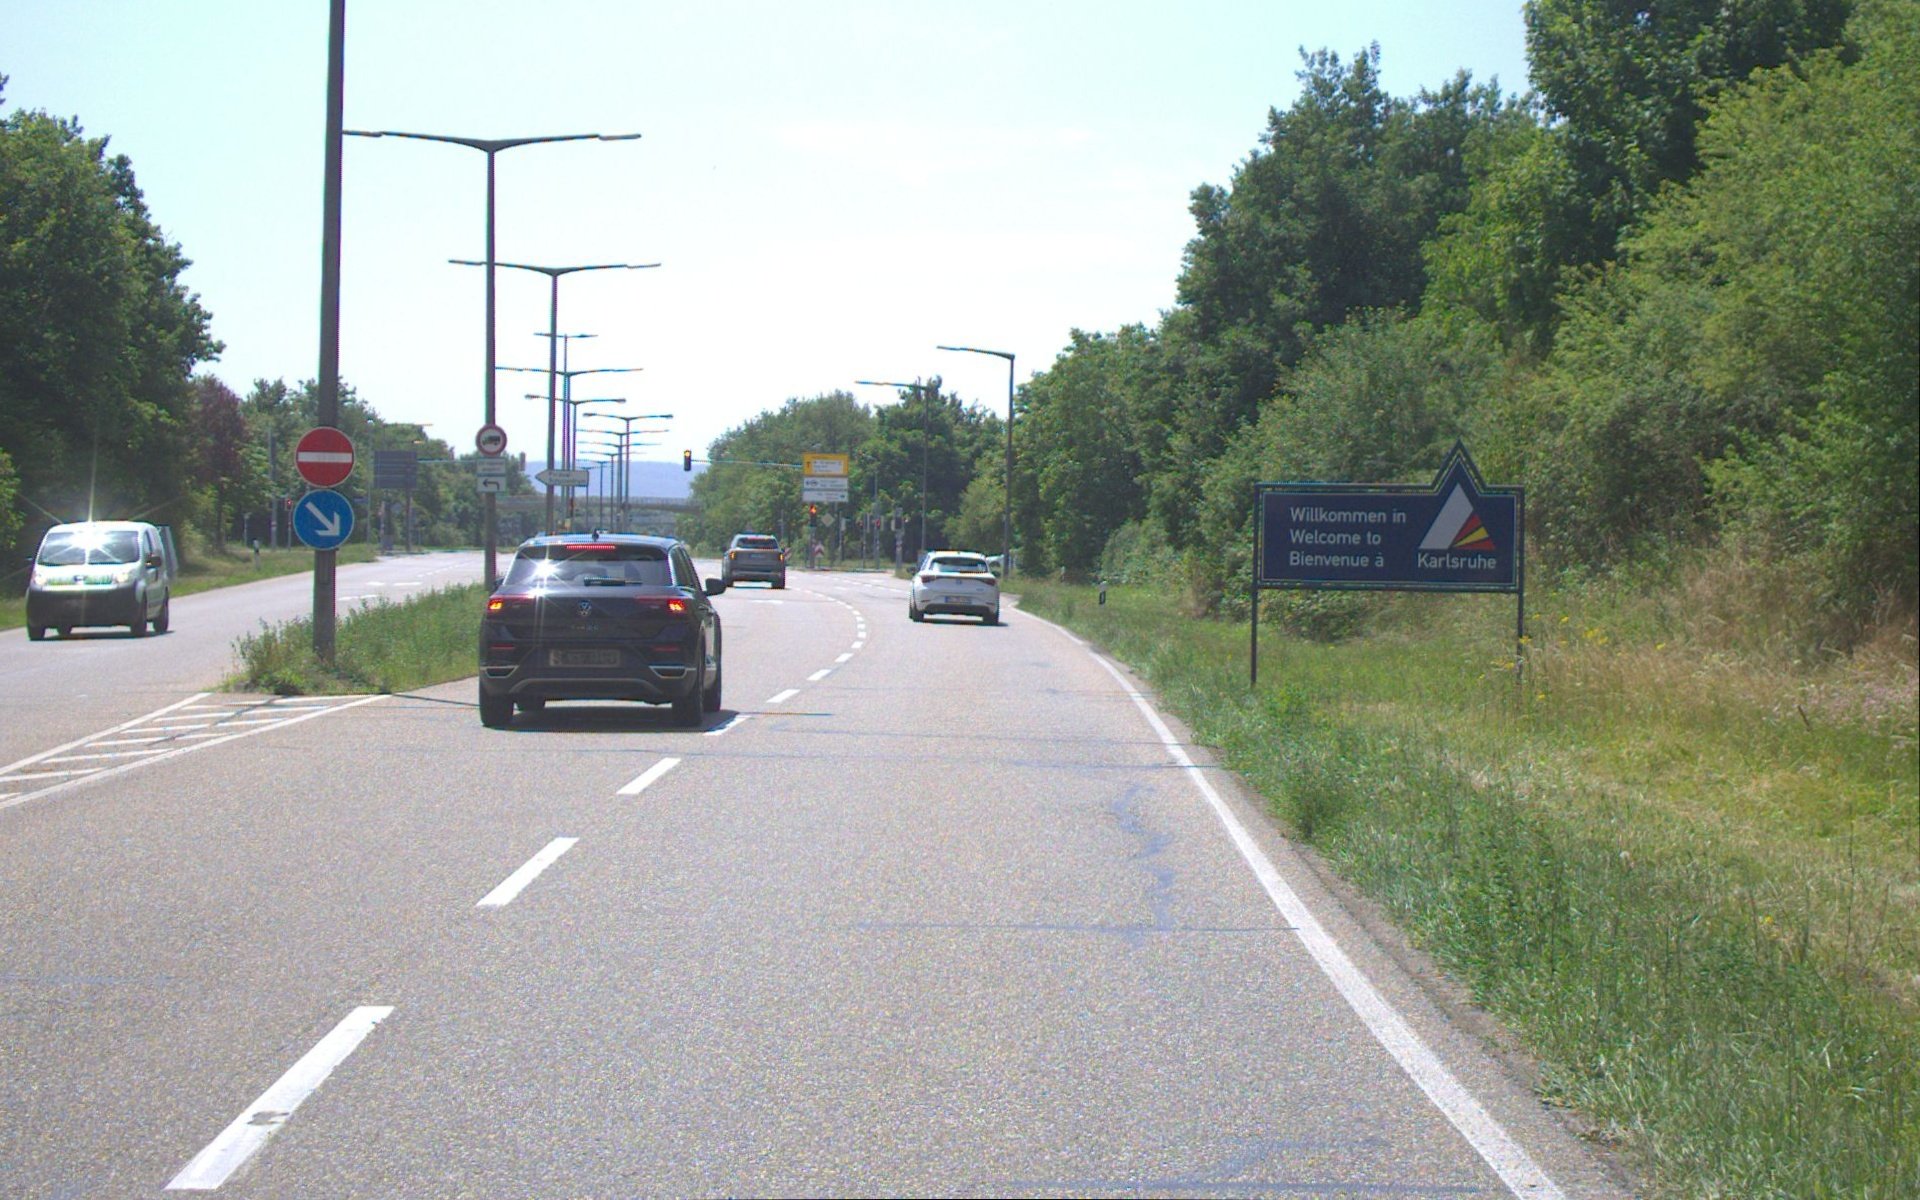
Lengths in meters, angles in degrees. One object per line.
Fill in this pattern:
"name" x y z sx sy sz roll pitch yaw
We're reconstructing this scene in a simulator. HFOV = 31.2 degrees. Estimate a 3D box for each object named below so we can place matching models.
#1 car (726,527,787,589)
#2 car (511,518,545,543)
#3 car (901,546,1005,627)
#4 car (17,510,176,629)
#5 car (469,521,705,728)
"car" -6.578 -1.356 110.673 1.755 1.922 4.001 2 1 -5
"car" -28.045 -4.517 223.211 1.828 1.514 4.001 2 1 -3
"car" -0.169 -0.304 70.348 1.797 1.577 4.001 -1 1 -5
"car" -12.942 -0.492 51.706 1.731 1.682 4.096 -1 1 -6
"car" -3.030 0.163 28.595 1.755 1.551 4.001 2 1 -4
